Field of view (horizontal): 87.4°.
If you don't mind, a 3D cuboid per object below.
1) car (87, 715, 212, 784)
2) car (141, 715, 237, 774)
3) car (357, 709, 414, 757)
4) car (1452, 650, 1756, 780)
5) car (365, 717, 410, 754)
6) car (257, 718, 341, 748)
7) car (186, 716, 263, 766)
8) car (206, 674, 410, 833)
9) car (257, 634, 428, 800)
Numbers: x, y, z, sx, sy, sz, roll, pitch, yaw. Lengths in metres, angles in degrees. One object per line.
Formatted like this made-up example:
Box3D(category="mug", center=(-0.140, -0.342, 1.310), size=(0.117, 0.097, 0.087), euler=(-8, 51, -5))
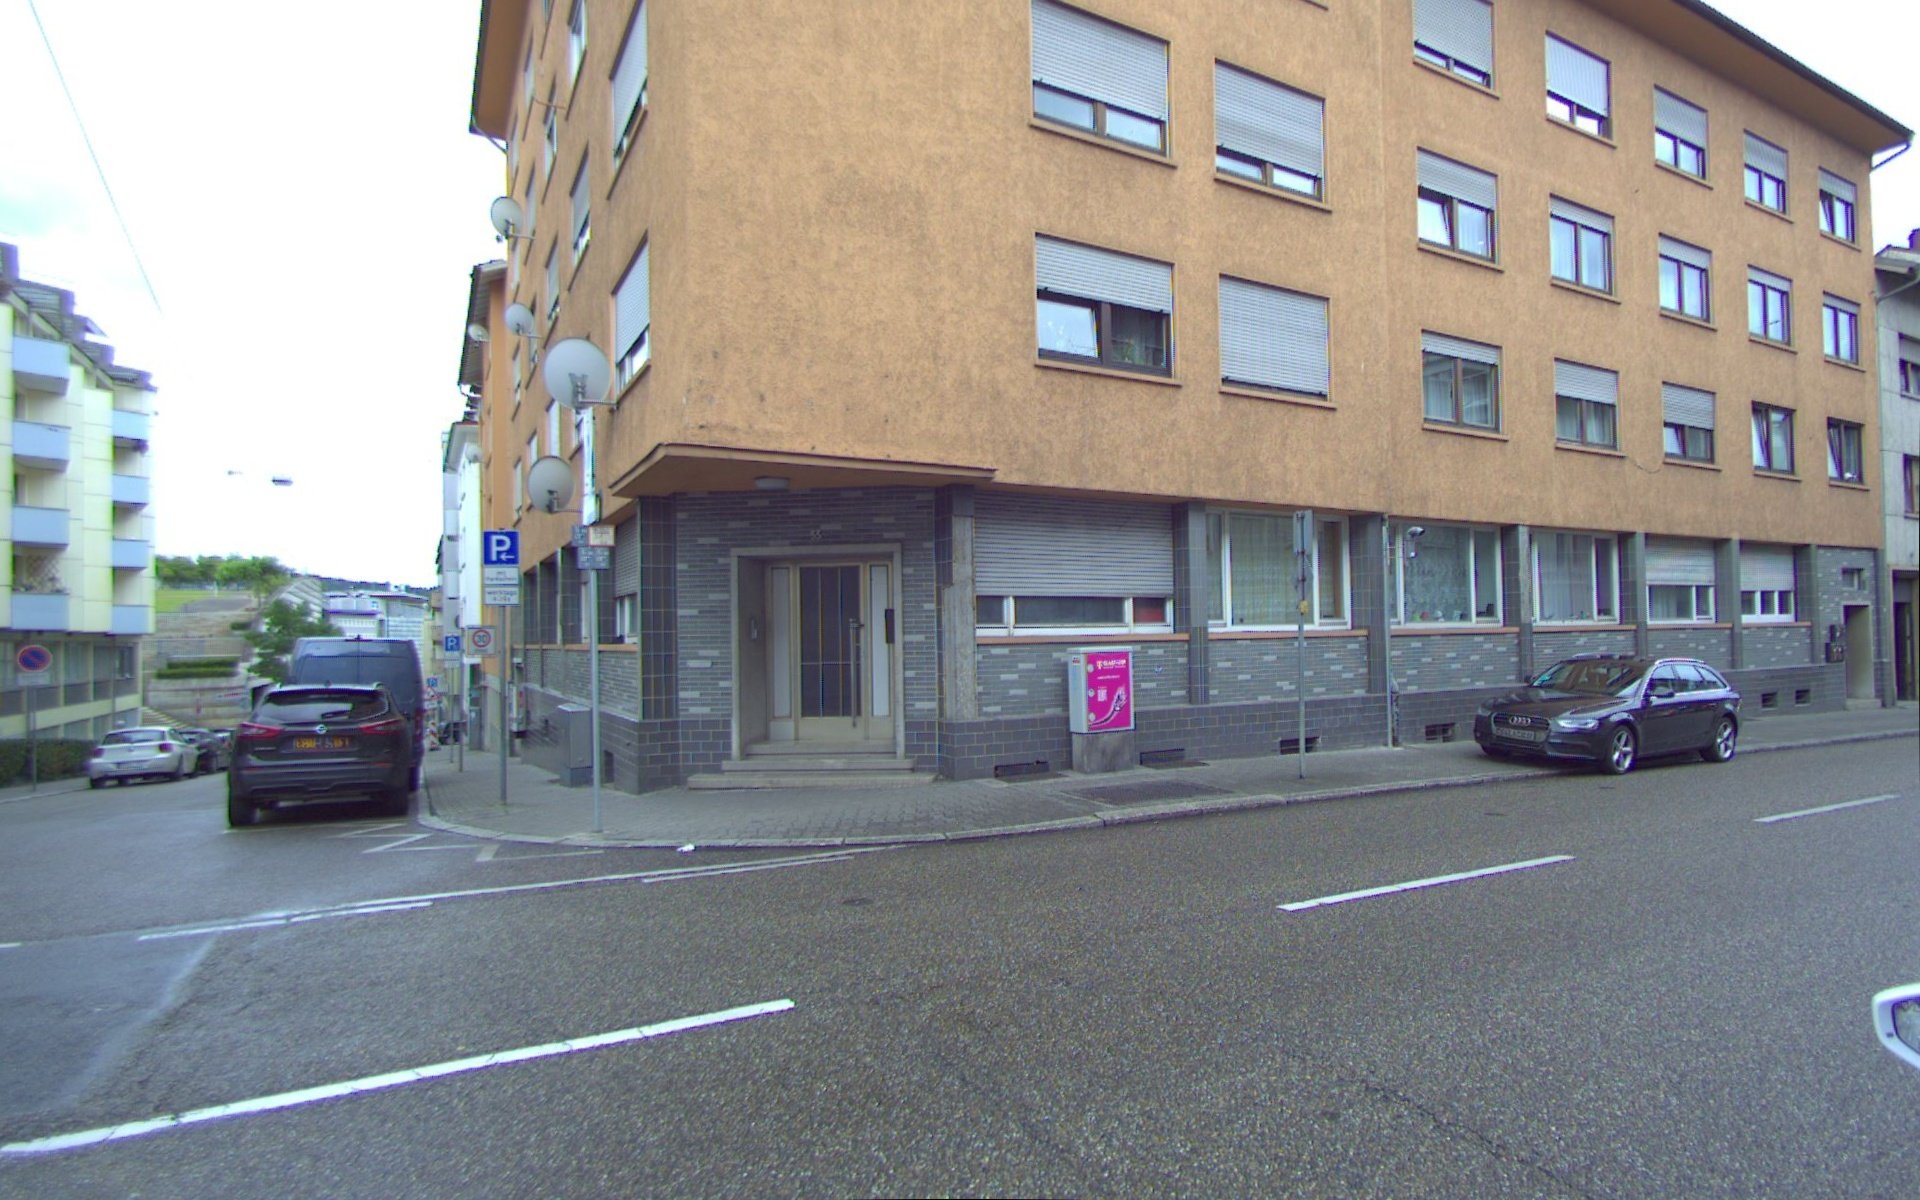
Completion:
Box3D(category="car", center=(-20.979, 3.847, 26.171), size=(1.819, 1.566, 3.973), euler=(1, -7, -29))
Box3D(category="car", center=(-23.779, 4.431, 31.118), size=(1.727, 1.634, 3.973), euler=(1, -7, -29))
Box3D(category="car", center=(-22.204, 5.150, 38.926), size=(1.796, 1.696, 4.026), euler=(1, -7, -29))
Box3D(category="car", center=(9.122, 1.493, 14.145), size=(4.474, 1.457, 1.786), euler=(1, 0, -31))
Box3D(category="car", center=(-25.941, 6.151, 45.602), size=(1.702, 1.513, 4.026), euler=(1, -7, -29))
Box3D(category="car", center=(-41.089, 8.255, 62.540), size=(1.894, 1.696, 4.056), euler=(-5, -7, 19))
Box3D(category="car", center=(-26.737, 5.127, 36.634), size=(1.727, 1.634, 3.973), euler=(1, -8, -29))
Box3D(category="car", center=(-8.010, 1.874, 12.681), size=(1.820, 1.596, 4.127), euler=(1, -7, -29))
Box3D(category="car", center=(-11.008, 2.096, 18.274), size=(2.223, 2.492, 6.017), euler=(1, -7, -29))
